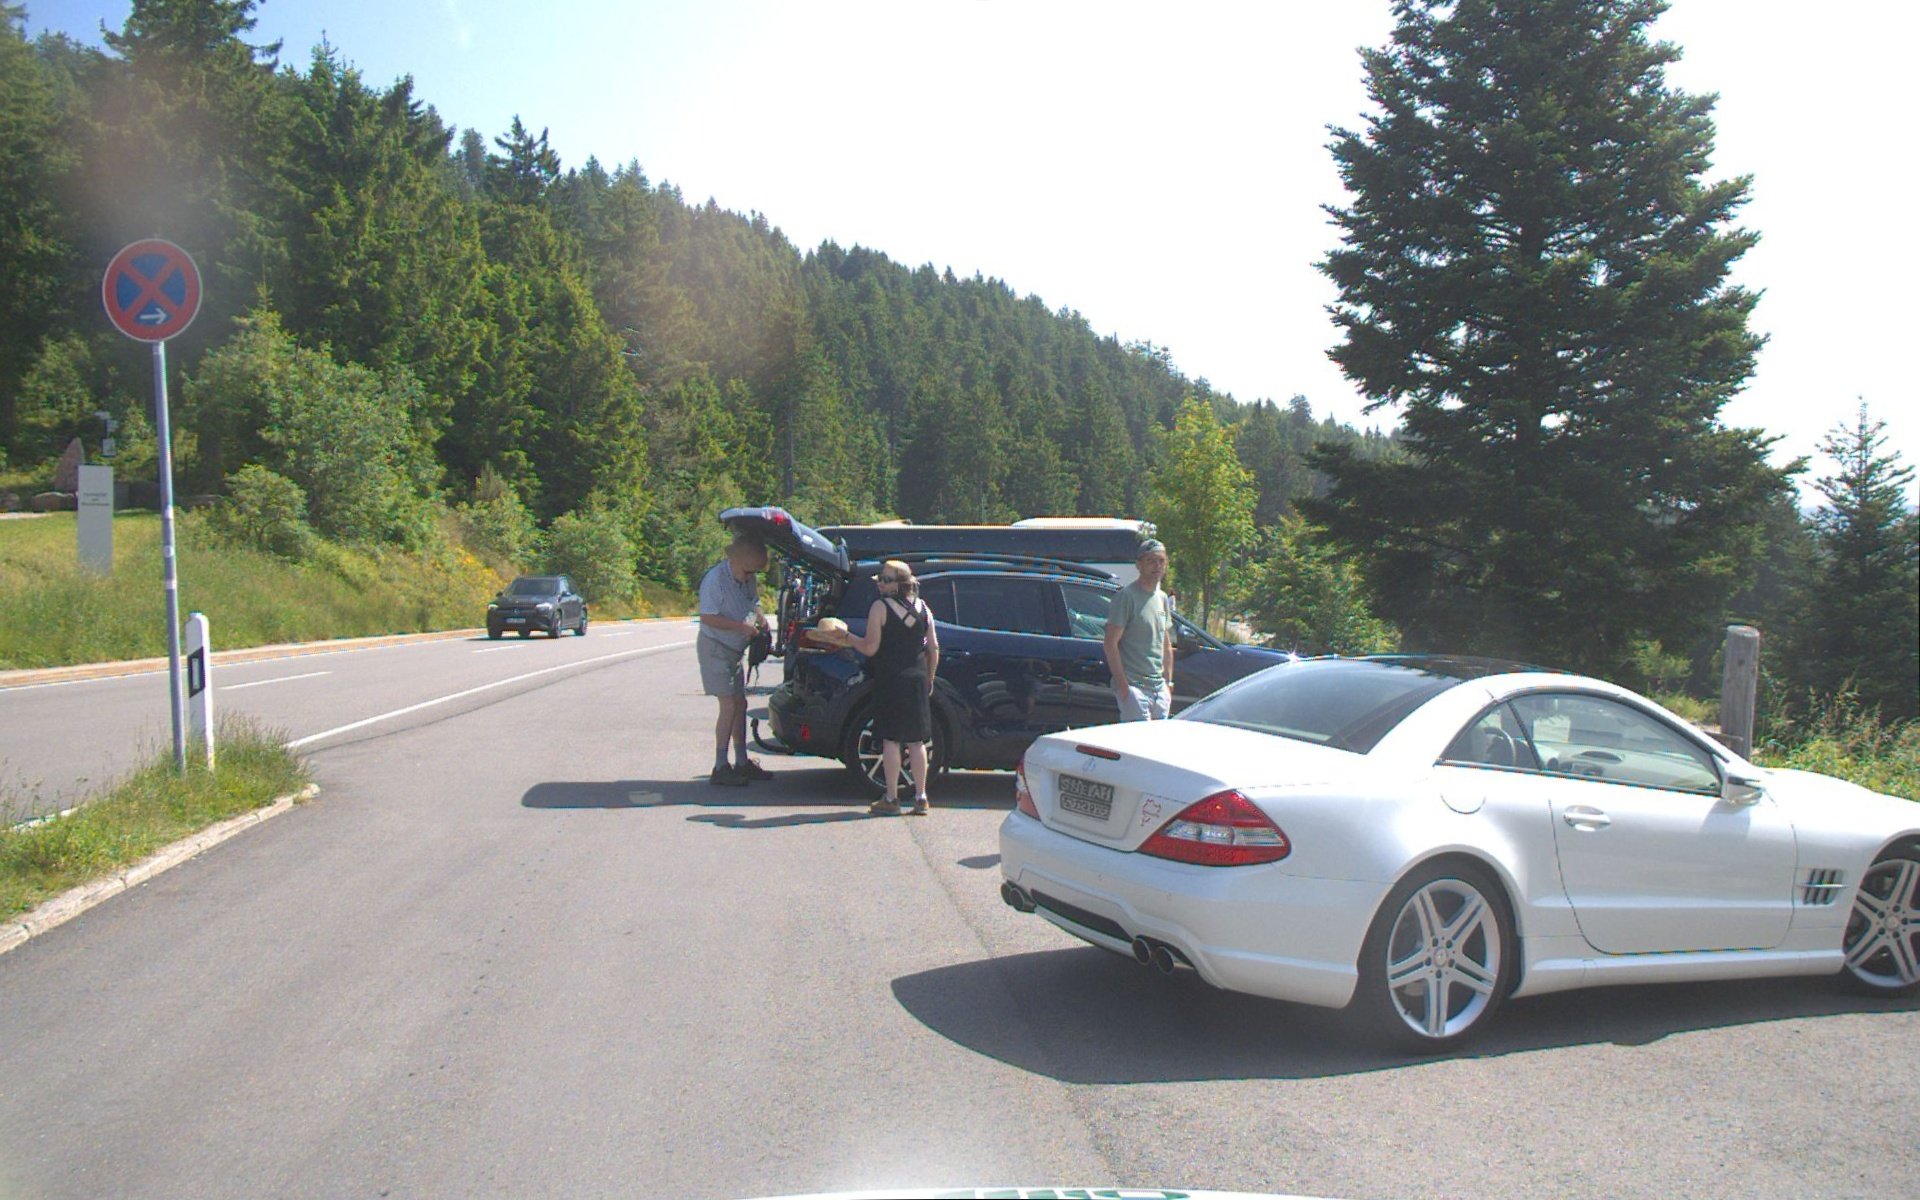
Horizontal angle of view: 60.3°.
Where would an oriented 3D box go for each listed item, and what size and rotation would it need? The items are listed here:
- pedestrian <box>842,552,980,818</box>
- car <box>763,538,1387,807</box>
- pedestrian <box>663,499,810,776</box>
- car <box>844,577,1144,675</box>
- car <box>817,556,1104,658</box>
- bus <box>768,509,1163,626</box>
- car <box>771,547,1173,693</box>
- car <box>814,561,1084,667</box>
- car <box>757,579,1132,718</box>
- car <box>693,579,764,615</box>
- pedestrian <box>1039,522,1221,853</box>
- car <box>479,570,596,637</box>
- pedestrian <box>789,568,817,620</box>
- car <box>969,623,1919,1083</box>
[{"bbox_3d":[-0.317,0.530,10.583,0.704,1.641,0.533,1,-1,-24],"label":"pedestrian"},{"bbox_3d":[0.745,0.524,12.256,4.263,1.654,1.866,3,-1,-9],"label":"car"},{"bbox_3d":[-1.605,0.239,11.915,0.721,1.903,0.757,3,3,27],"label":"pedestrian"},{"bbox_3d":[0.437,0.345,23.835,4.159,1.291,1.837,-1,1,-3],"label":"car"},{"bbox_3d":[-0.029,0.103,29.613,4.934,1.680,2.047,-1,1,-3],"label":"car"},{"bbox_3d":[0.284,-1.045,54.977,12.815,3.594,3.046,-1,1,7],"label":"bus"},{"bbox_3d":[0.137,0.226,20.927,4.848,1.725,1.945,0,1,-1],"label":"car"},{"bbox_3d":[-0.207,0.200,26.484,4.159,1.581,1.837,-1,1,-3],"label":"car"},{"bbox_3d":[-0.234,0.534,18.684,4.007,1.400,1.698,2,0,-10],"label":"car"},{"bbox_3d":[-10.064,-0.163,72.293,1.839,1.500,4.718,0,1,8],"label":"car"},{"bbox_3d":[0.990,0.488,9.675,0.740,1.831,0.727,2,-1,-35],"label":"pedestrian"},{"bbox_3d":[-11.245,0.054,44.373,1.953,1.676,4.567,-1,1,0],"label":"car"},{"bbox_3d":[-4.930,-0.178,52.039,0.754,1.613,0.773,-1,0,3],"label":"pedestrian"},{"bbox_3d":[2.372,0.853,6.786,4.344,1.318,1.741,2,1,-27],"label":"car"}]
